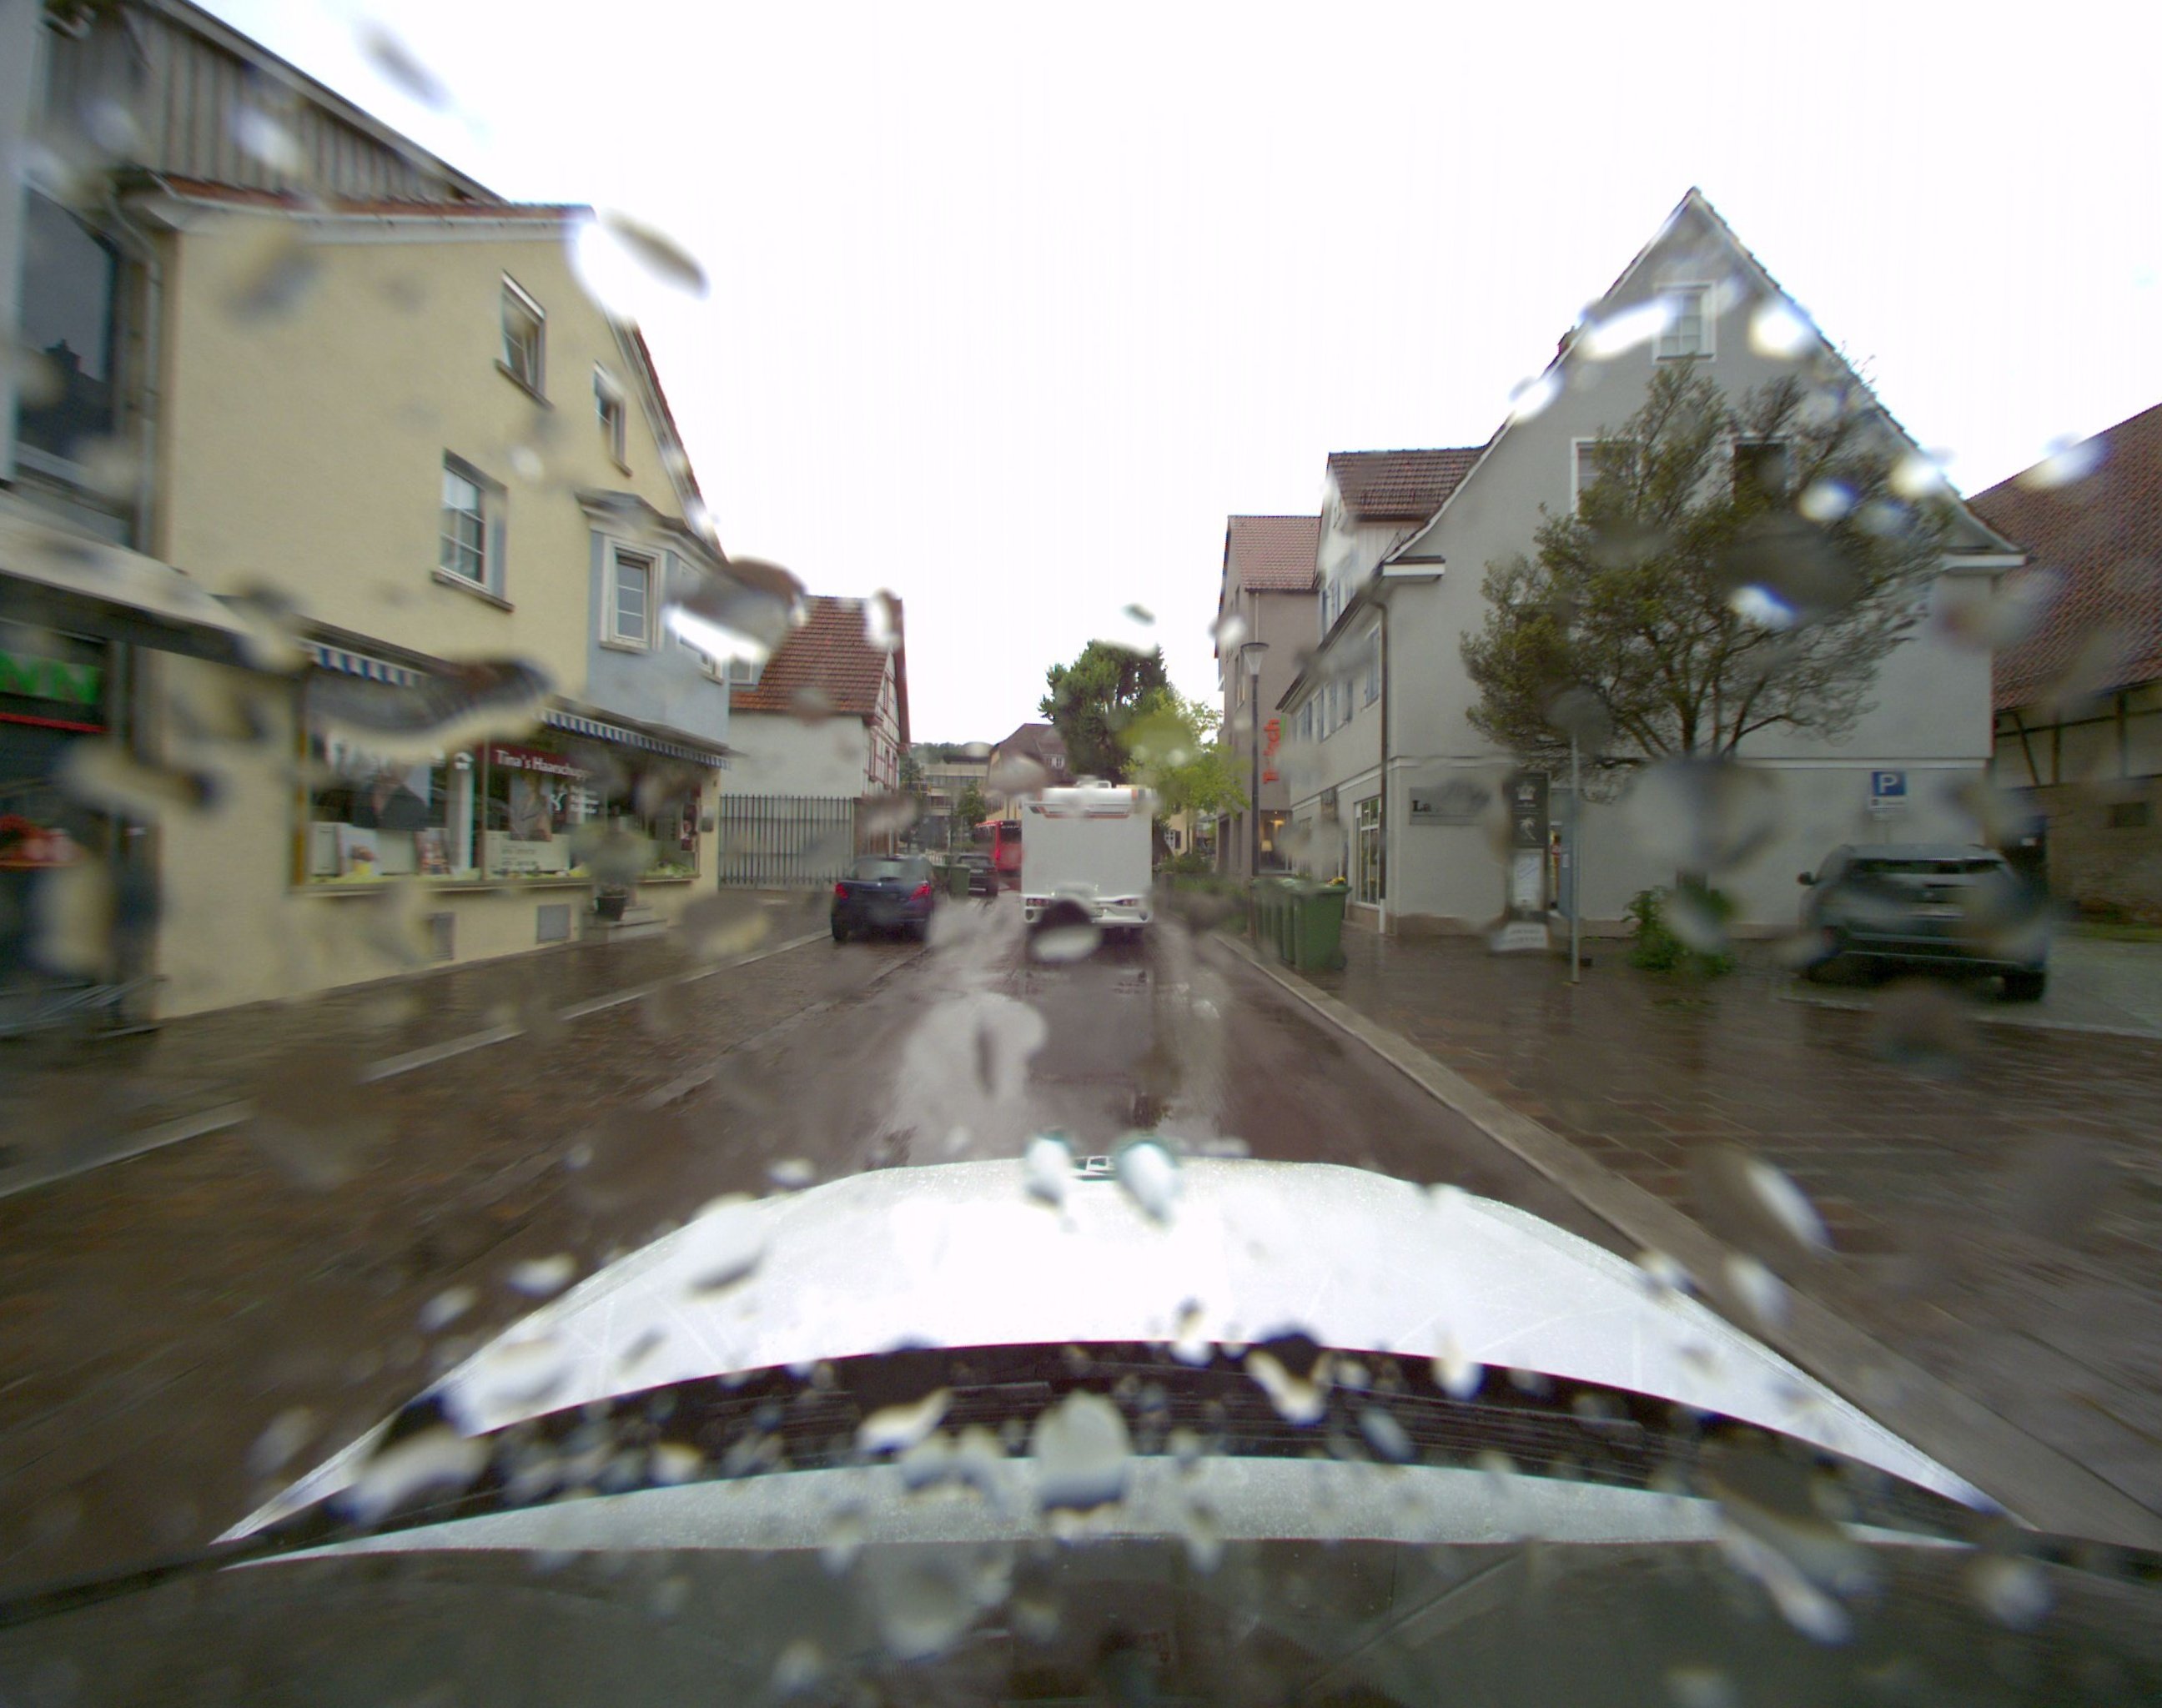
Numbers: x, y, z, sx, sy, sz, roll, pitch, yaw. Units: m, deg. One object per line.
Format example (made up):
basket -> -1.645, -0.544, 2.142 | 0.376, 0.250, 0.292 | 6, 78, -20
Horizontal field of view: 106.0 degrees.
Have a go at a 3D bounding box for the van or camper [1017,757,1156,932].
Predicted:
van or camper -> 0.048, -0.109, 16.830 | 2.319, 2.919, 6.389 | 0, -1, -1

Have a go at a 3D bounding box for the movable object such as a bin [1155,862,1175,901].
movable object such as a bin -> 2.555, 0.838, 24.776 | 0.542, 1.156, 0.576 | 0, -1, -2

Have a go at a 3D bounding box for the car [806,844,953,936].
car -> -3.623, 0.591, 15.405 | 1.990, 1.472, 3.994 | 1, 0, -4

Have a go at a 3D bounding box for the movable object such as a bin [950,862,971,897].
movable object such as a bin -> -3.871, 0.812, 26.238 | 0.629, 1.113, 0.732 | 0, -1, -7

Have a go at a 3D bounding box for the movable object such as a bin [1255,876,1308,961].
movable object such as a bin -> 3.005, 0.953, 12.250 | 0.675, 1.232, 0.565 | 0, -1, 1

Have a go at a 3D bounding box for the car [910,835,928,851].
car -> -21.422, -1.473, 107.757 | 1.998, 2.014, 3.977 | 1, -1, -17

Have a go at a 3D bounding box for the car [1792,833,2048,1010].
car -> 9.907, 0.602, 9.934 | 1.801, 1.655, 4.387 | -1, 1, 42

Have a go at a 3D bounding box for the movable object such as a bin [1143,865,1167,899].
movable object such as a bin -> 2.420, 0.916, 26.621 | 0.727, 1.080, 0.576 | 0, -1, -2

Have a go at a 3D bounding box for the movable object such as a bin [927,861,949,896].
movable object such as a bin -> -4.583, 0.774, 26.155 | 0.629, 1.052, 0.732 | 0, 3, -7

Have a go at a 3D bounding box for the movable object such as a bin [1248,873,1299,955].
movable object such as a bin -> 3.020, 0.929, 12.826 | 0.675, 1.250, 0.565 | 0, -1, 1

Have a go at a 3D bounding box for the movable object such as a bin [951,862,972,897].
movable object such as a bin -> -3.960, 0.845, 27.010 | 0.629, 1.123, 0.732 | 0, -1, -7

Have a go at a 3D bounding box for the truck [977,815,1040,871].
truck -> -4.226, -0.518, 46.135 | 2.467, 2.939, 6.164 | 1, -1, -16

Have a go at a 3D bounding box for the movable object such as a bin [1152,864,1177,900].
movable object such as a bin -> 2.597, 0.866, 25.381 | 0.691, 1.102, 0.561 | 0, -1, -2

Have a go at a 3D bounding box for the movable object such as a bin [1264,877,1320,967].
movable object such as a bin -> 3.018, 0.957, 11.685 | 0.675, 1.256, 0.543 | 0, -1, 1

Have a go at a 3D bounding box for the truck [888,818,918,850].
truck -> -16.934, -1.854, 77.132 | 2.286, 2.758, 5.535 | 1, -1, -17

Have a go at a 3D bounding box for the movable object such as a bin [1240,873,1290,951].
movable object such as a bin -> 3.031, 0.938, 13.480 | 0.675, 1.241, 0.731 | 0, -1, 1

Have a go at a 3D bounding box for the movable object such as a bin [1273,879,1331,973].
movable object such as a bin -> 3.016, 0.971, 11.130 | 0.656, 1.245, 0.543 | 0, -1, 1

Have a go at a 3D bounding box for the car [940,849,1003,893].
car -> -4.190, 0.597, 30.549 | 1.995, 1.494, 3.983 | 2, 0, -12

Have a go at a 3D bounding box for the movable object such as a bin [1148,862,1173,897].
movable object such as a bin -> 2.548, 0.817, 26.018 | 0.727, 1.102, 0.561 | 0, -1, -2

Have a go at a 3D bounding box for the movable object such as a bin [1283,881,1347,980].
movable object such as a bin -> 3.013, 0.969, 10.543 | 0.656, 1.238, 0.621 | 0, -1, 1

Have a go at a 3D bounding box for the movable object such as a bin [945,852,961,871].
movable object such as a bin -> -7.205, 0.433, 45.755 | 0.819, 1.051, 0.696 | 1, -1, -14

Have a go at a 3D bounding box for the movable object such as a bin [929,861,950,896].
movable object such as a bin -> -4.672, 0.809, 26.949 | 0.629, 1.123, 0.732 | 0, -1, -7
